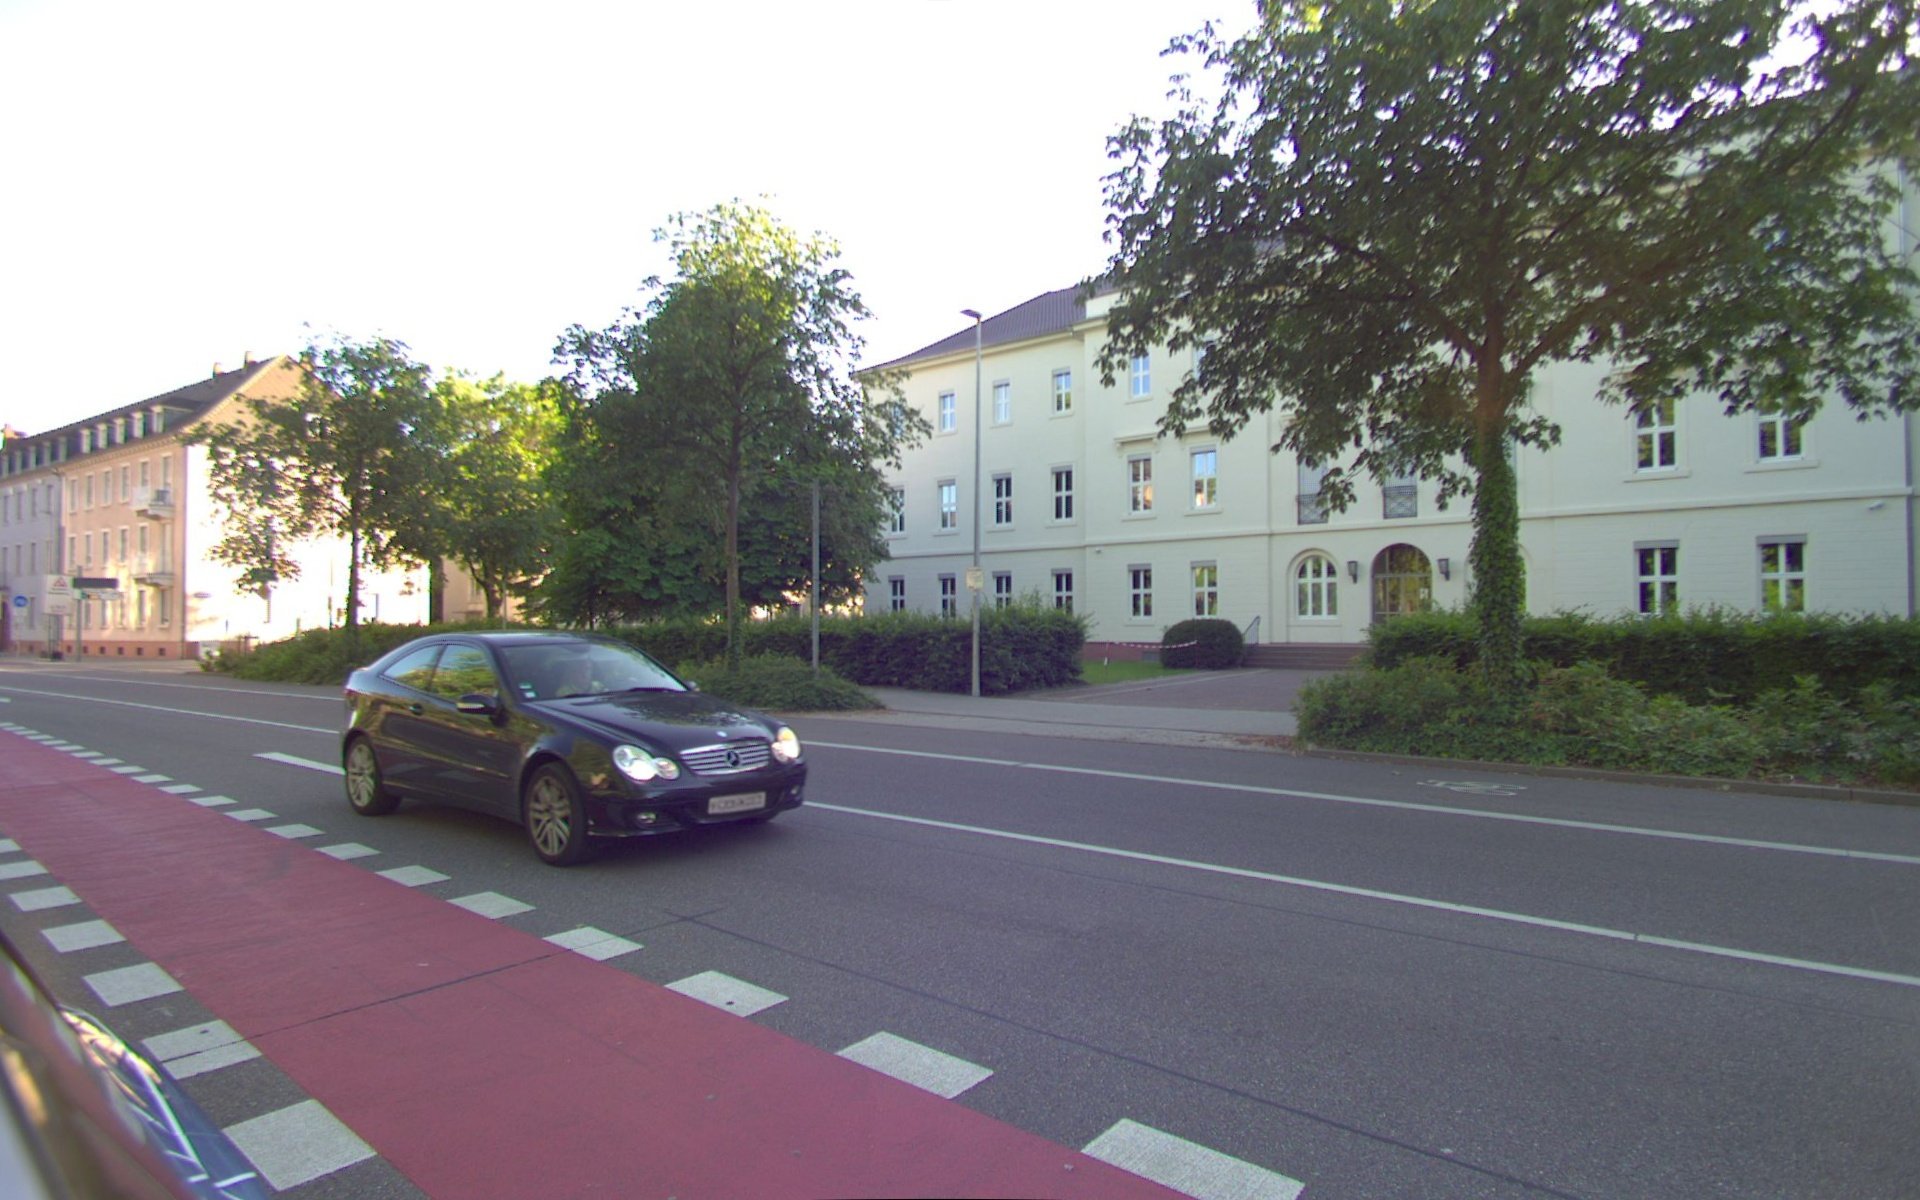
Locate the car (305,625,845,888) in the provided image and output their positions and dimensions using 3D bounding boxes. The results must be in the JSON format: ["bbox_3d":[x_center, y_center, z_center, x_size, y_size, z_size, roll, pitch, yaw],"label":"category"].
[{"bbox_3d":[-2.981,0.912,7.437,4.257,1.416,1.689,-1,-3,37],"label":"car"}]

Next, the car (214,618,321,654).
[{"bbox_3d":[-34.626,1.780,50.687,1.993,1.674,3.958,-1,-1,31],"label":"car"}]
